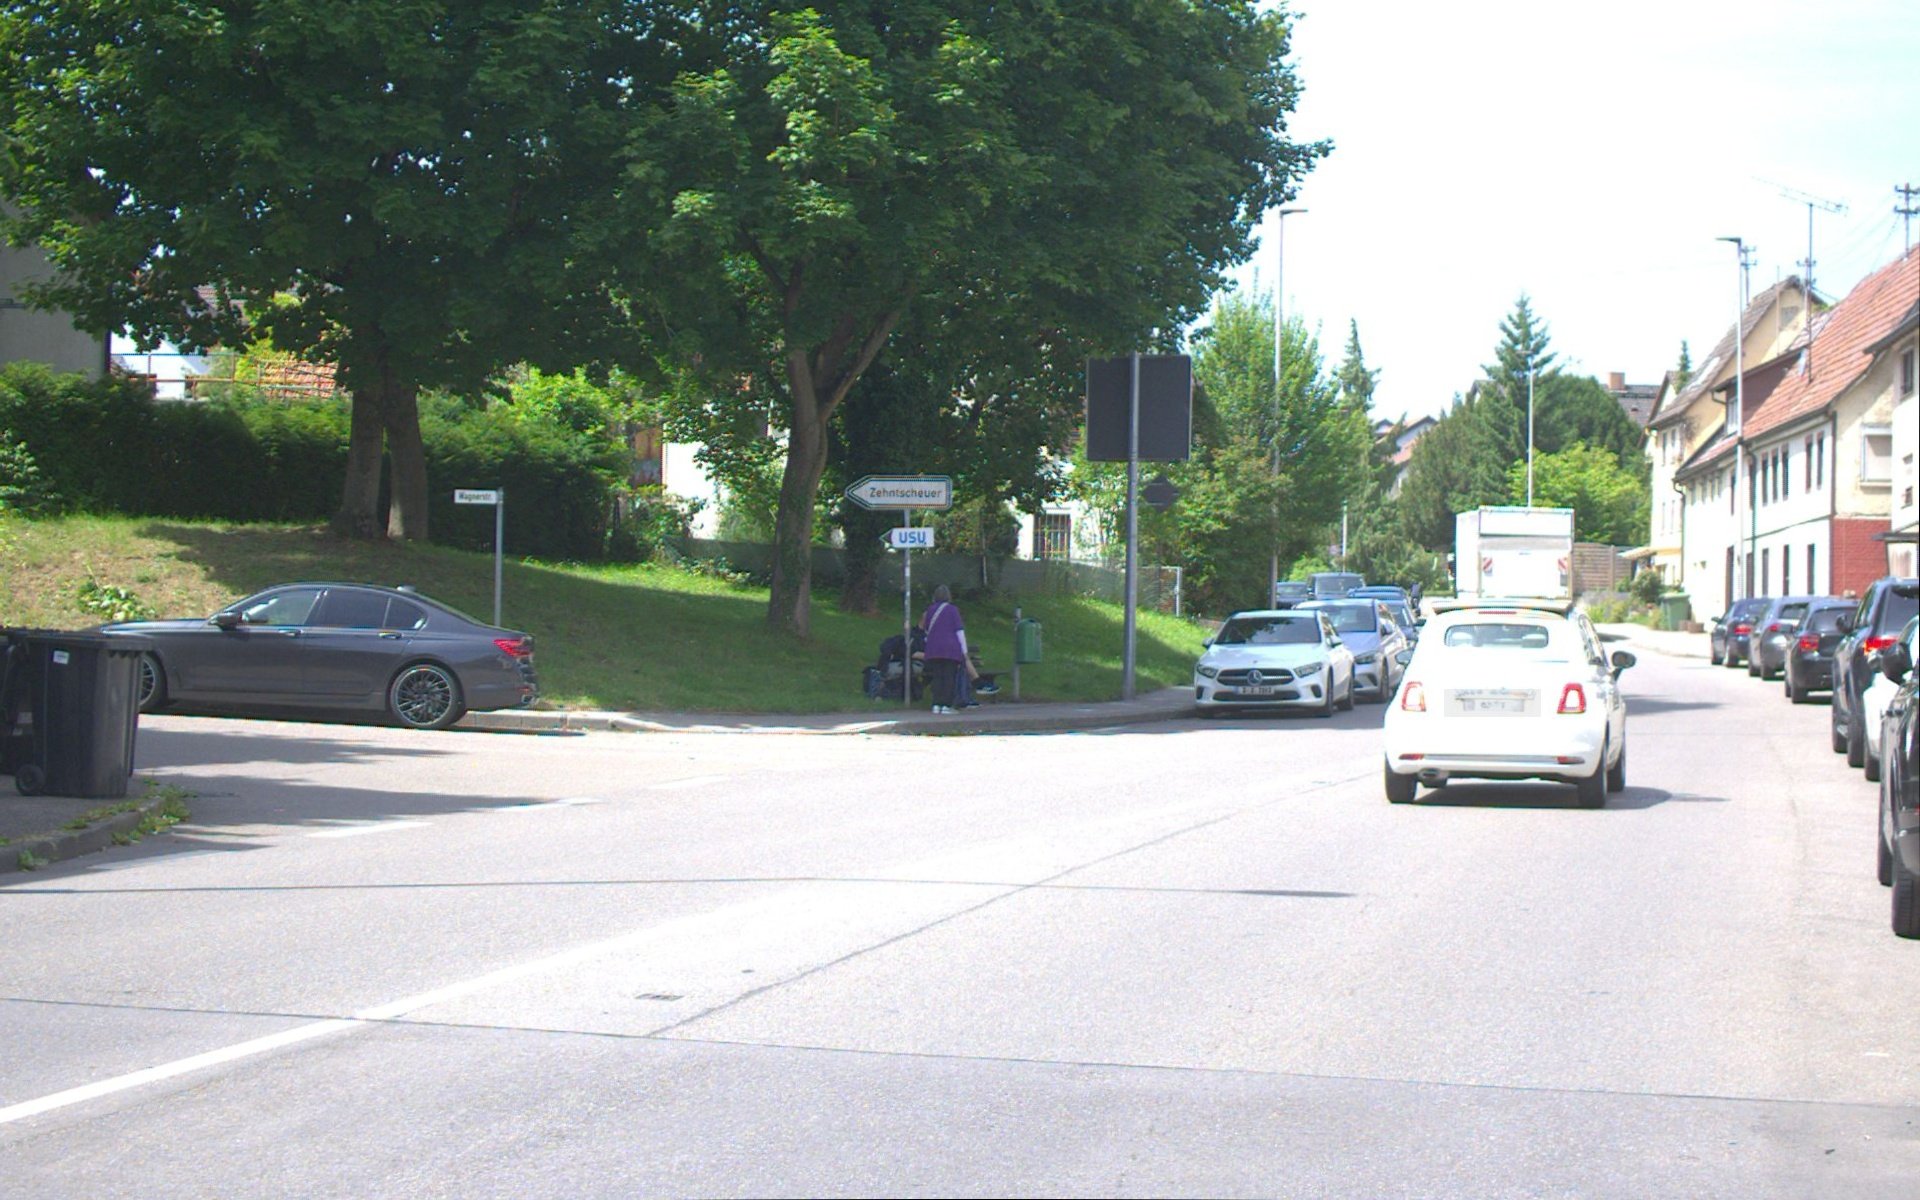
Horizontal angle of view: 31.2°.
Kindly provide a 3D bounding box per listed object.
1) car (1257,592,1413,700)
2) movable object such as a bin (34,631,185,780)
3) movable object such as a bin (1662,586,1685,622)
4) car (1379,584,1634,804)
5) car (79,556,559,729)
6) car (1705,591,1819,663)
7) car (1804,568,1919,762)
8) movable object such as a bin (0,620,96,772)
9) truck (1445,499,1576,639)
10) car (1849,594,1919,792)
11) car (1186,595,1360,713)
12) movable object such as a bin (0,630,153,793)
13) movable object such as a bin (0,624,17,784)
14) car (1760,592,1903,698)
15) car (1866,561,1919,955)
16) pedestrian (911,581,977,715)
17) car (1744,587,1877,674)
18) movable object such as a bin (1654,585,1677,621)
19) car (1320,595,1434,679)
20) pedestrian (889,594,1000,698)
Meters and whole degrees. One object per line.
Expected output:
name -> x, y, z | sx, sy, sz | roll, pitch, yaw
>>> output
car -> 5.752, 0.668, 52.312 | 1.773, 1.522, 4.219 | -1, 0, 14
movable object such as a bin -> -6.131, 0.761, 24.801 | 0.772, 0.997, 0.608 | 5, -1, 17
movable object such as a bin -> 20.659, 0.112, 99.590 | 0.546, 1.030, 0.551 | -2, 0, 5
car -> 4.298, 0.669, 26.639 | 1.726, 1.555, 3.998 | 0, 0, 12
car -> -6.744, 0.442, 36.631 | 4.774, 1.474, 2.000 | 4, 0, -5
car -> 15.845, 0.509, 68.097 | 1.666, 1.348, 4.186 | 1, 1, 6
car -> 9.191, 0.546, 32.841 | 1.954, 1.710, 4.714 | -2, 0, 12
movable object such as a bin -> -6.538, 0.659, 23.864 | 0.772, 0.997, 0.608 | 5, -1, 16
truck -> 15.348, -0.823, 96.330 | 3.069, 3.761, 7.866 | 0, 0, 5
car -> 8.268, 0.696, 27.873 | 1.789, 1.450, 4.714 | 0, 0, 11
car -> 4.286, 0.698, 46.537 | 1.756, 1.462, 4.360 | -1, 0, 13
movable object such as a bin -> -5.700, 0.702, 21.885 | 0.852, 0.997, 0.693 | 1, 0, 16
movable object such as a bin -> -6.449, 0.633, 21.343 | 0.801, 0.997, 0.804 | 3, 0, 16
car -> 12.287, 0.617, 48.640 | 1.798, 1.420, 4.288 | 0, 0, 12
car -> 5.396, 0.708, 16.614 | 1.844, 1.664, 4.652 | 2, 0, 14
pedestrian -> -0.197, 0.580, 42.168 | 0.730, 1.611, 0.629 | 2, 0, -3
car -> 14.656, 0.502, 59.437 | 1.794, 1.398, 4.410 | -1, 0, 8
movable object such as a bin -> 20.810, 0.081, 101.389 | 0.546, 1.030, 0.551 | -2, 0, 5
car -> 7.780, 0.658, 63.872 | 1.805, 1.419, 4.926 | -1, 1, 10
pedestrian -> -0.195, 0.582, 43.902 | 1.237, 1.265, 0.646 | 2, 0, 17
